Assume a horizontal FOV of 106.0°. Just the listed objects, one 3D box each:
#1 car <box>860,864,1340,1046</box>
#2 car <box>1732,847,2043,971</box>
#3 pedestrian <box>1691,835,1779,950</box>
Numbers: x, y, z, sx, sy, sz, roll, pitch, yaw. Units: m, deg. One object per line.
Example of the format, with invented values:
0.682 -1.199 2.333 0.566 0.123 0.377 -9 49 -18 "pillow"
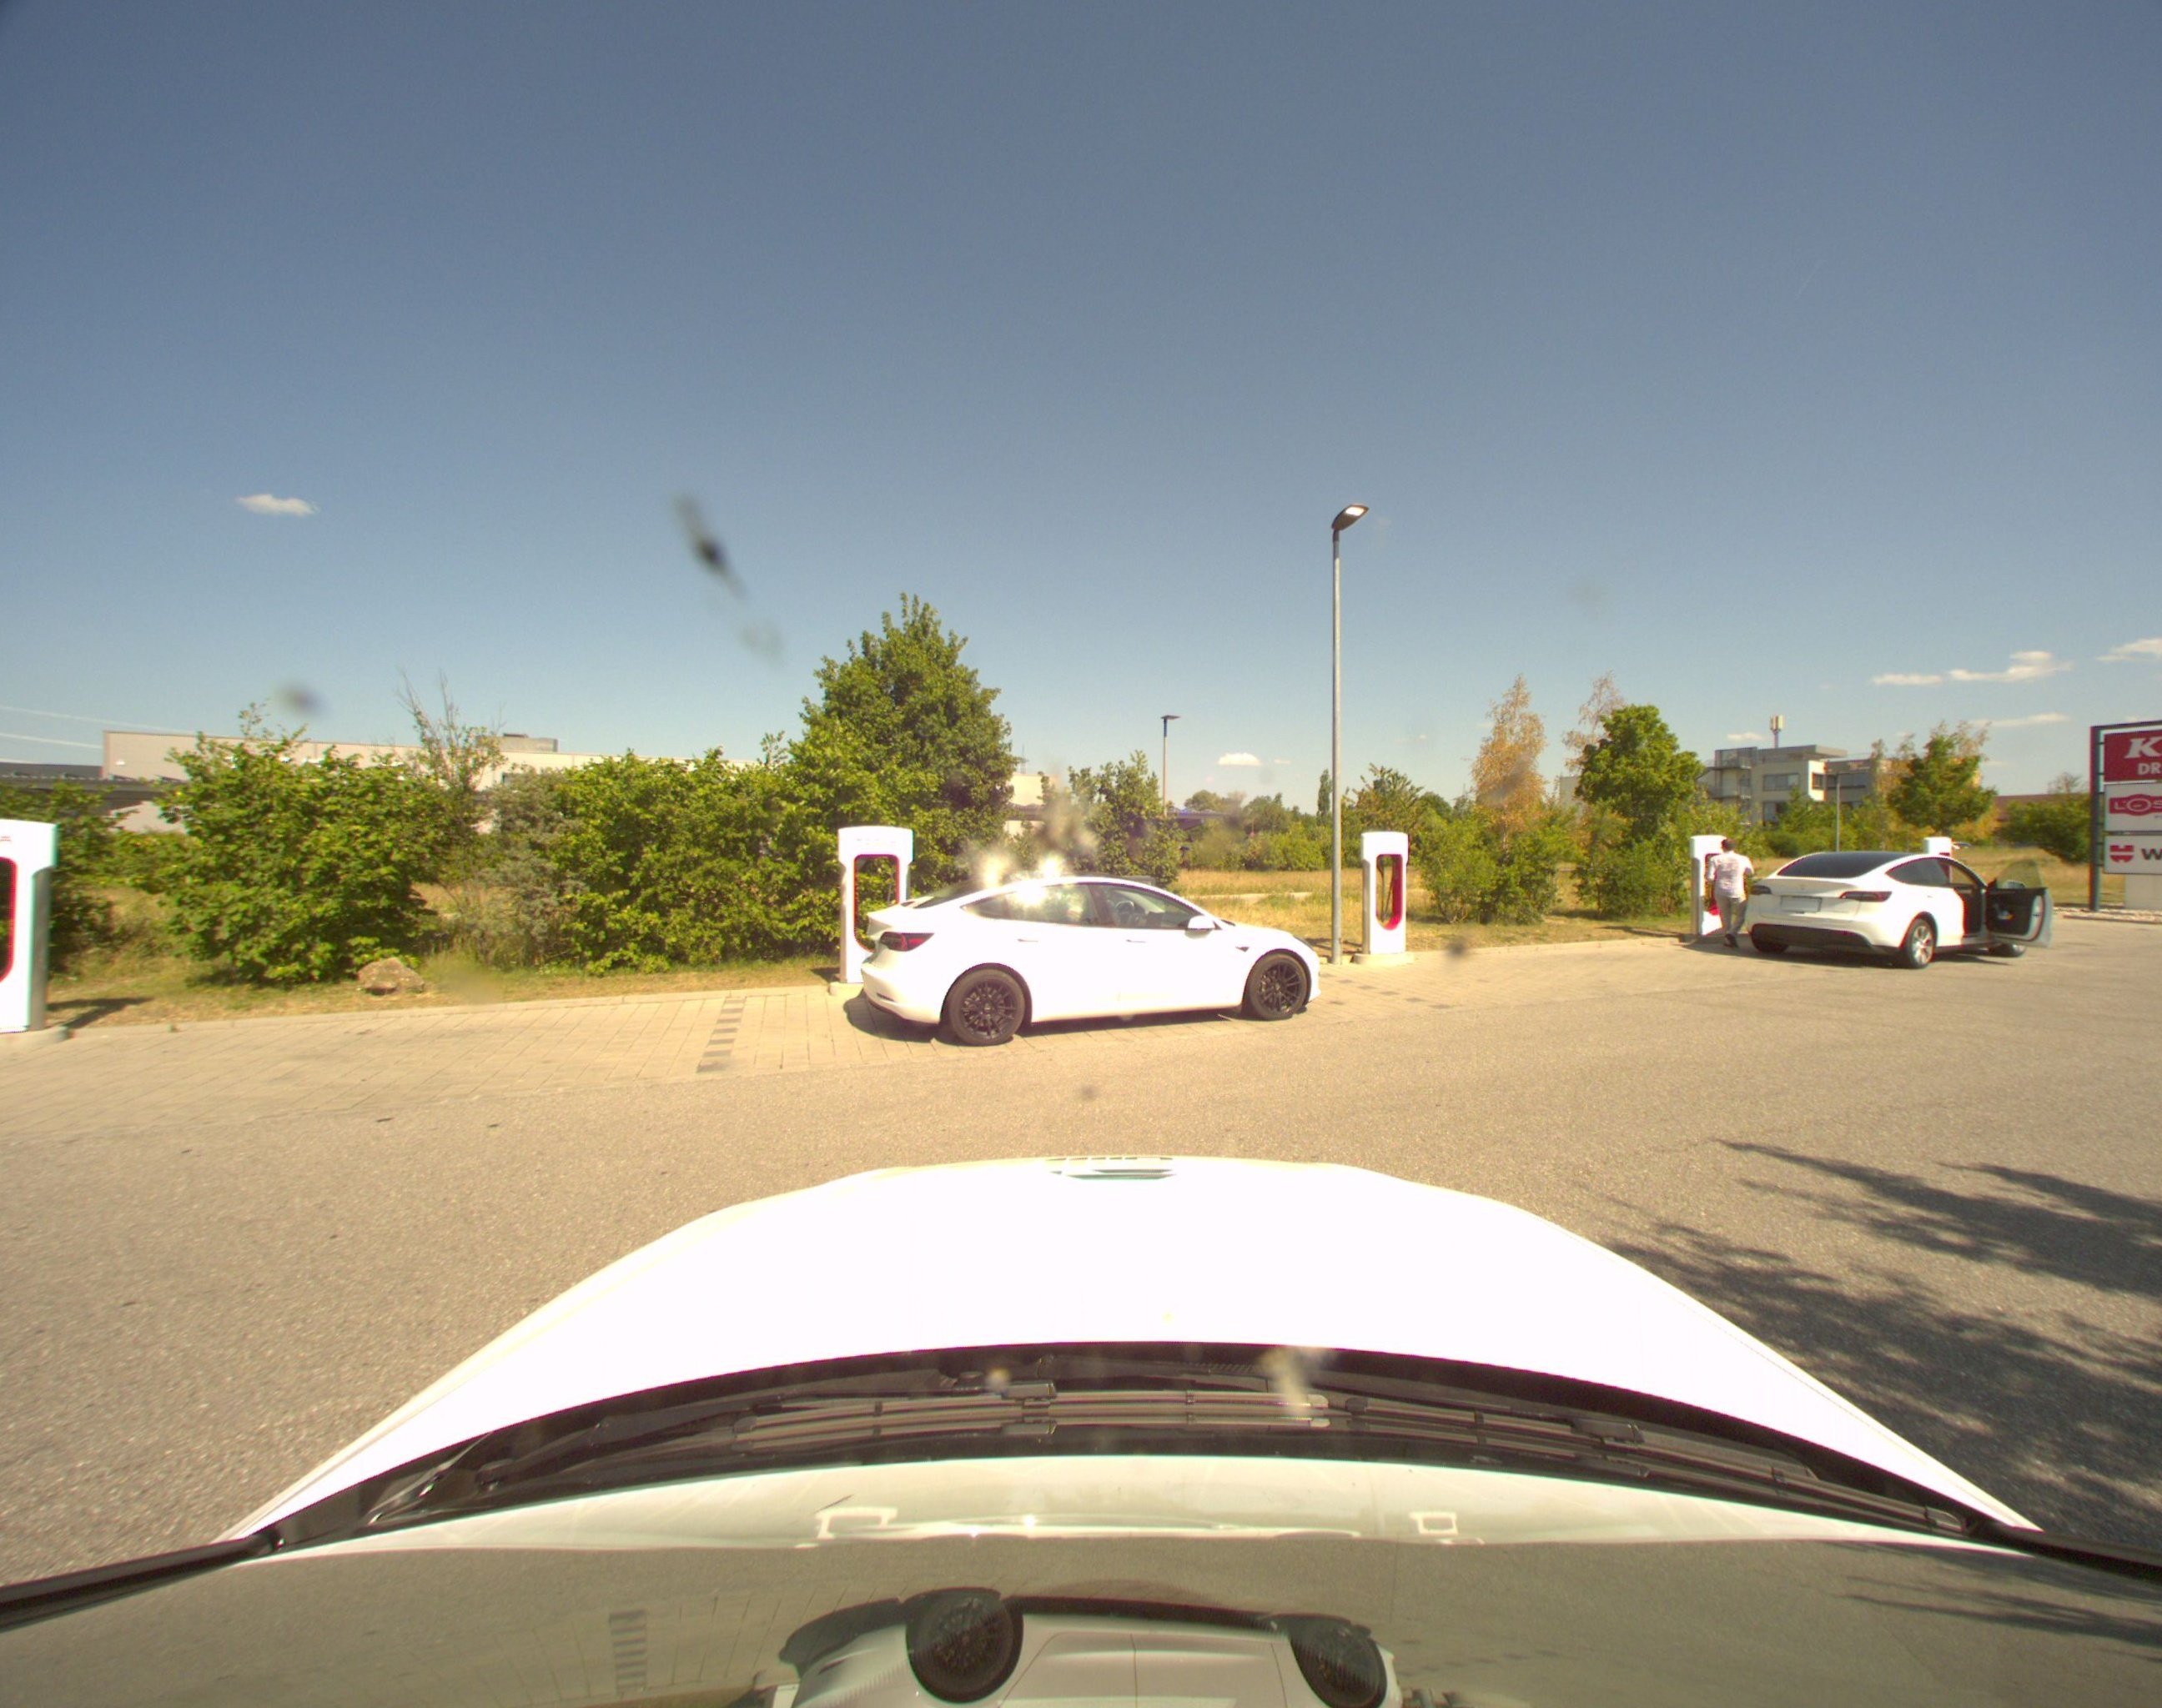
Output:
0.150 0.829 8.099 4.447 1.377 1.811 0 1 -19 "car"
12.409 0.717 12.525 4.493 1.600 1.856 -1 1 -23 "car"
10.701 0.596 13.331 1.037 1.800 0.731 0 0 -24 "pedestrian"
